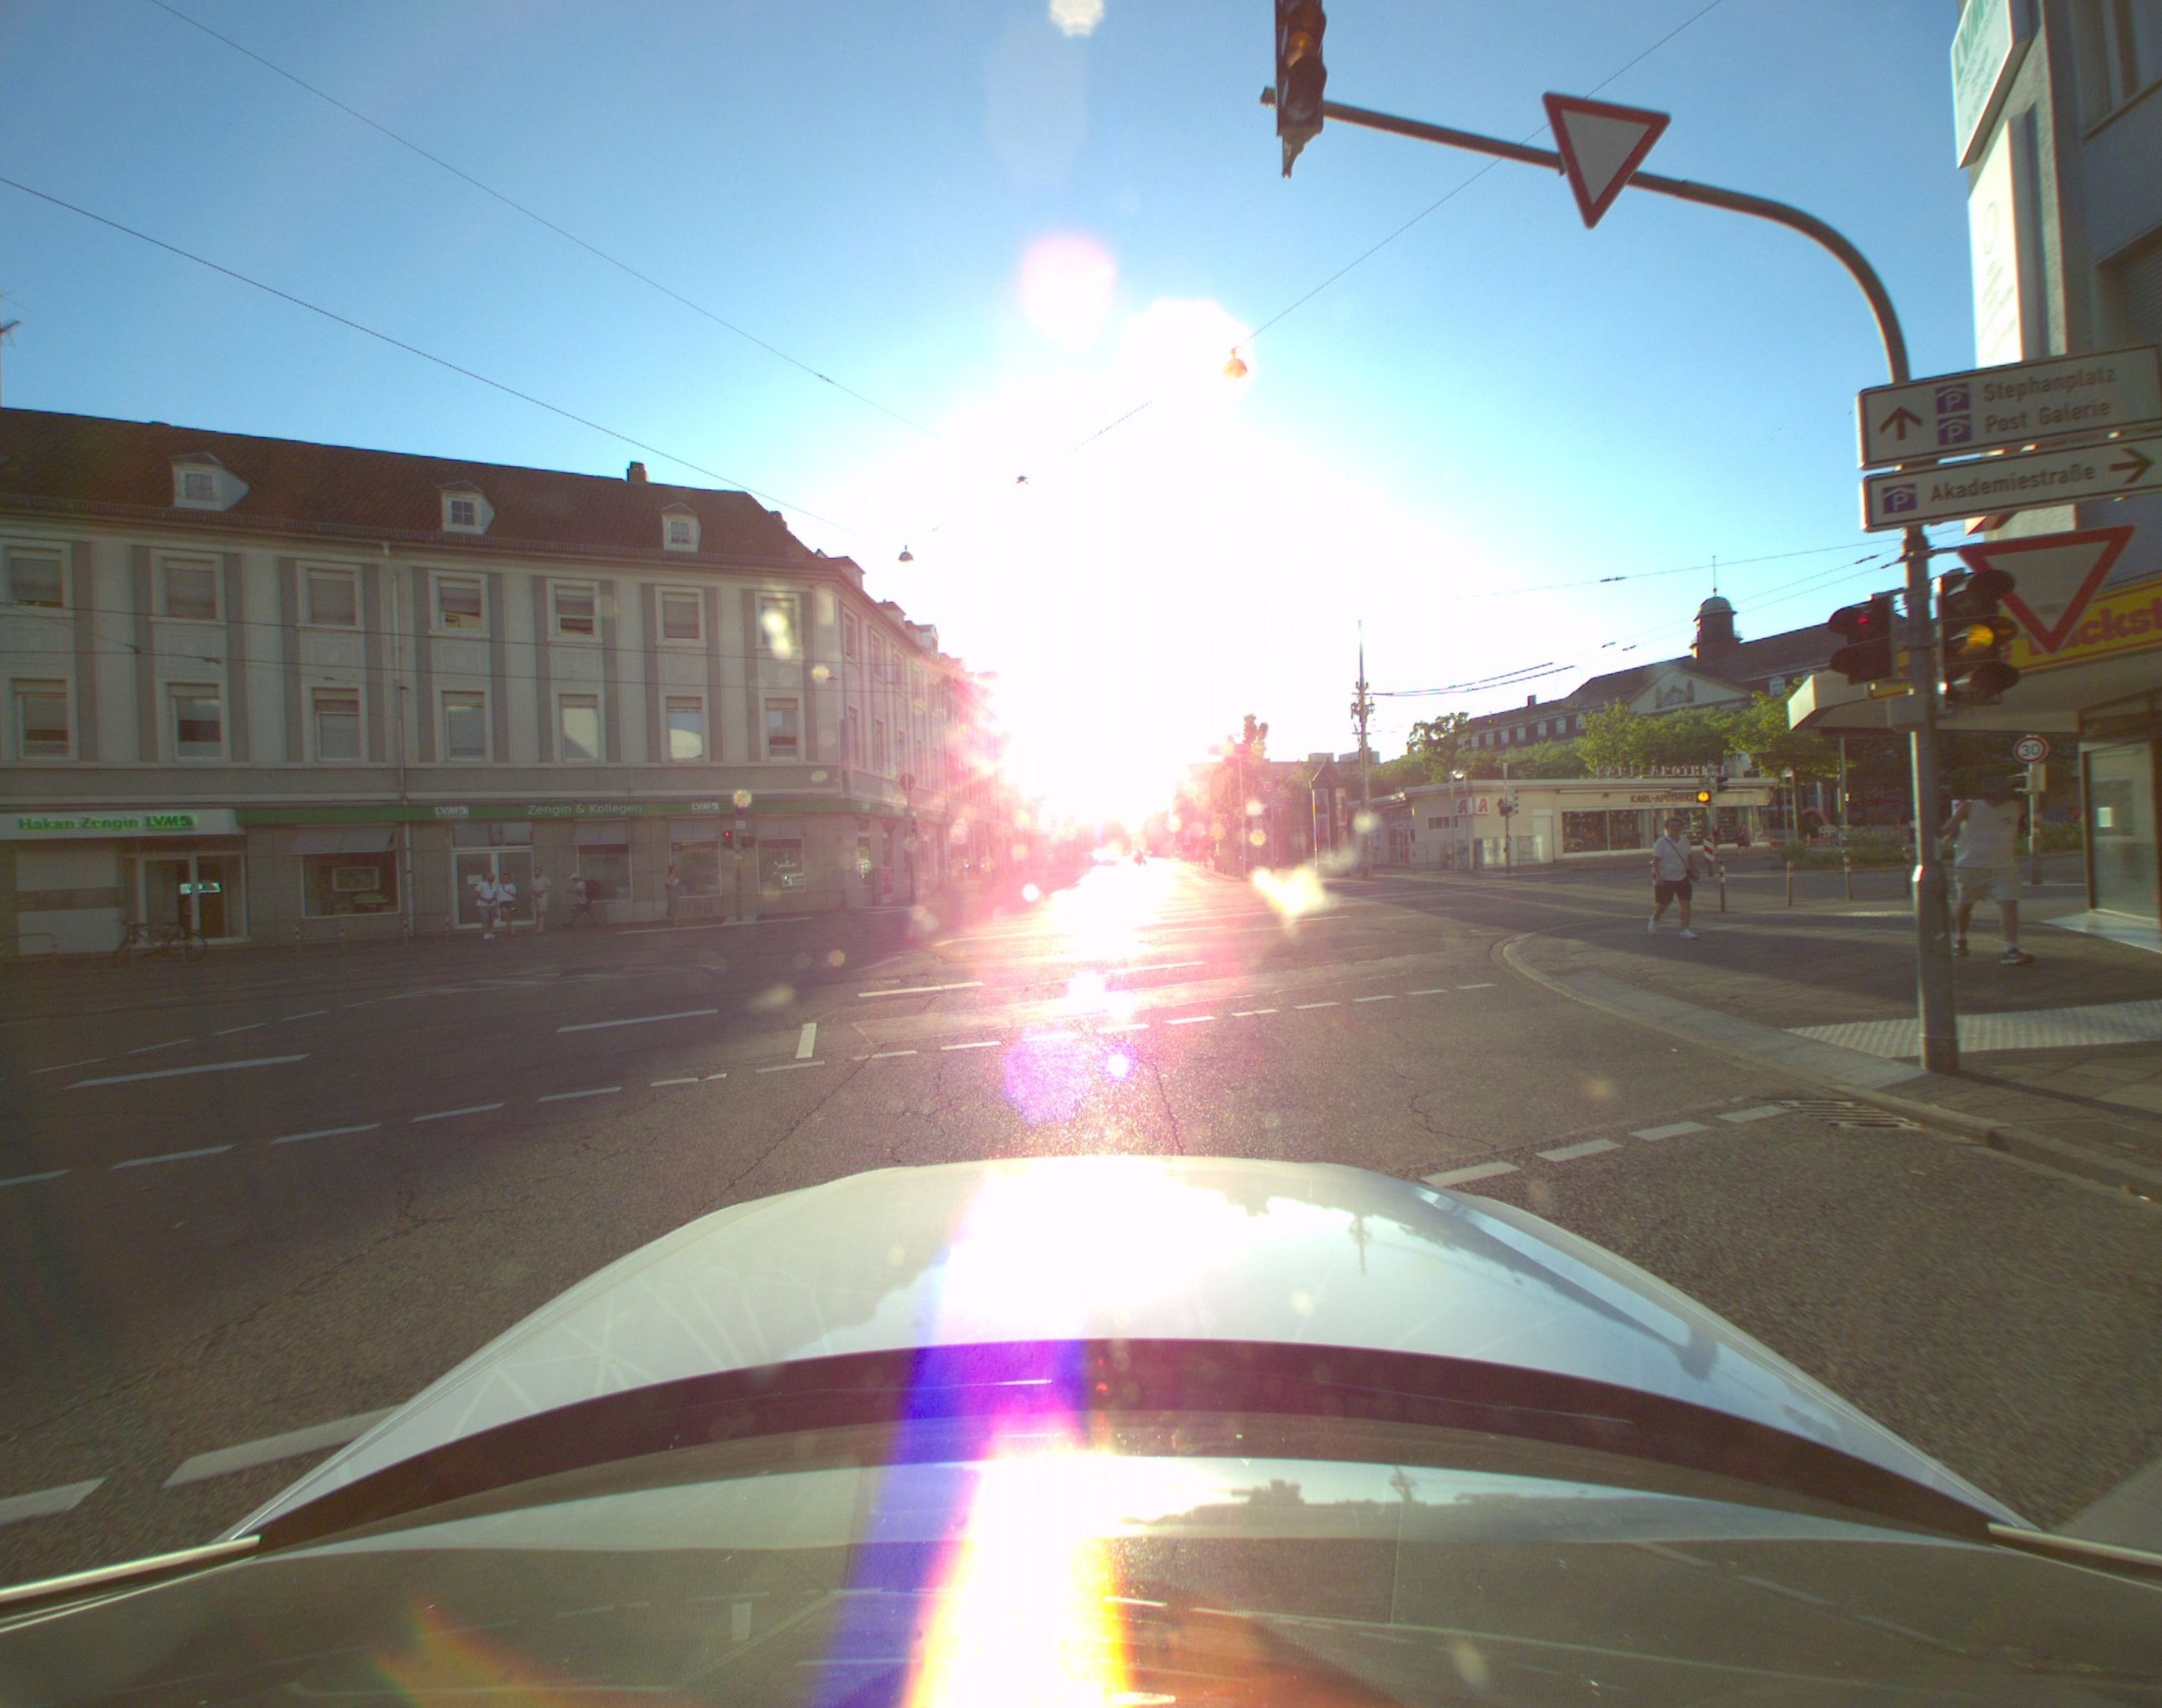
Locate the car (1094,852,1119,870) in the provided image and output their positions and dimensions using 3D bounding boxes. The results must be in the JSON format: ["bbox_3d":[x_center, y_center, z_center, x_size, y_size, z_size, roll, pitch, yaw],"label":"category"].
[{"bbox_3d":[2.691,0.708,84.133,2.293,1.678,5.538,-3,0,4],"label":"car"}]

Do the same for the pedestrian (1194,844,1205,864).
[{"bbox_3d":[11.162,-0.027,76.606,0.797,1.786,0.998,-4,-1,18],"label":"pedestrian"}]

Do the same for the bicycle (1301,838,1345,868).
[{"bbox_3d":[13.376,-0.047,45.036,2.212,1.522,0.682,-3,0,4],"label":"bicycle"}]

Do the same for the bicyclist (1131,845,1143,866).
[{"bbox_3d":[4.587,0.143,66.457,0.661,1.707,0.685,-3,0,39],"label":"bicyclist"}]

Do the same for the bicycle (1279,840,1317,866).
[{"bbox_3d":[13.703,-0.063,51.439,2.212,1.522,0.682,-3,0,4],"label":"bicycle"}]

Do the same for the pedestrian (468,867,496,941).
[{"bbox_3d":[-16.023,1.321,21.792,0.498,1.928,0.570,-3,0,-31],"label":"pedestrian"}]

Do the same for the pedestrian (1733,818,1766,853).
[{"bbox_3d":[33.335,-0.916,40.596,0.994,1.612,0.801,-3,-1,-21],"label":"pedestrian"}]

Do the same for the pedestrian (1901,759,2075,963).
[{"bbox_3d":[8.996,0.077,8.138,0.796,1.886,1.000,-5,-1,32],"label":"pedestrian"}]

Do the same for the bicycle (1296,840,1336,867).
[{"bbox_3d":[14.111,-0.046,48.943,2.212,1.522,0.682,-3,0,4],"label":"bicycle"}]

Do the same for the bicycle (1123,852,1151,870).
[{"bbox_3d":[4.538,0.549,66.504,2.201,1.402,0.685,-3,0,39],"label":"bicycle"}]

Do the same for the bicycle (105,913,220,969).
[{"bbox_3d":[-21.202,2.004,18.831,1.650,1.089,0.475,-3,2,-24],"label":"bicycle"}]

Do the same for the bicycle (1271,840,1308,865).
[{"bbox_3d":[13.638,-0.087,53.209,2.209,1.522,0.682,-3,0,8],"label":"bicycle"}]

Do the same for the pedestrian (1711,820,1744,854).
[{"bbox_3d":[32.864,-0.870,41.399,0.994,1.612,0.801,-3,-1,-21],"label":"pedestrian"}]

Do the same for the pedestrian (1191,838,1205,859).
[{"bbox_3d":[11.198,-0.522,78.069,0.981,1.957,0.811,-3,-1,30],"label":"pedestrian"}]

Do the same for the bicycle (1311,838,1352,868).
[{"bbox_3d":[13.511,-0.074,43.983,1.976,1.522,0.480,-3,0,4],"label":"bicycle"}]

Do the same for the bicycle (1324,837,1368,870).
[{"bbox_3d":[13.186,-0.015,40.542,1.977,1.522,0.480,-3,0,3],"label":"bicycle"}]

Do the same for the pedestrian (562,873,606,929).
[{"bbox_3d":[-14.383,1.343,23.583,0.870,1.548,0.695,-3,0,-18],"label":"pedestrian"}]

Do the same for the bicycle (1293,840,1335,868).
[{"bbox_3d":[13.650,-0.012,47.669,2.212,1.522,0.682,-3,0,4],"label":"bicycle"}]

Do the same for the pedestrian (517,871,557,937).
[{"bbox_3d":[-14.910,1.361,22.346,0.699,1.745,0.636,-3,0,-18],"label":"pedestrian"}]

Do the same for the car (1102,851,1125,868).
[{"bbox_3d":[3.690,0.615,91.687,2.293,1.678,5.538,-3,0,4],"label":"car"}]

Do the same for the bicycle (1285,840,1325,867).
[{"bbox_3d":[13.758,-0.045,50.048,2.212,1.522,0.682,-3,0,4],"label":"bicycle"}]

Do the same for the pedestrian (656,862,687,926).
[{"bbox_3d":[-11.800,1.144,23.481,0.647,1.778,0.668,-3,0,-18],"label":"pedestrian"}]

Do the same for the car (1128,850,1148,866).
[{"bbox_3d":[6.718,0.464,95.829,2.293,1.678,5.538,-3,0,4],"label":"car"}]

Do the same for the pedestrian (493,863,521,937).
[{"bbox_3d":[-15.574,1.235,22.108,0.531,1.928,0.633,-3,0,-32],"label":"pedestrian"}]

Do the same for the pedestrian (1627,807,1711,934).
[{"bbox_3d":[8.444,0.236,11.736,0.796,1.726,1.000,-5,-1,32],"label":"pedestrian"}]
